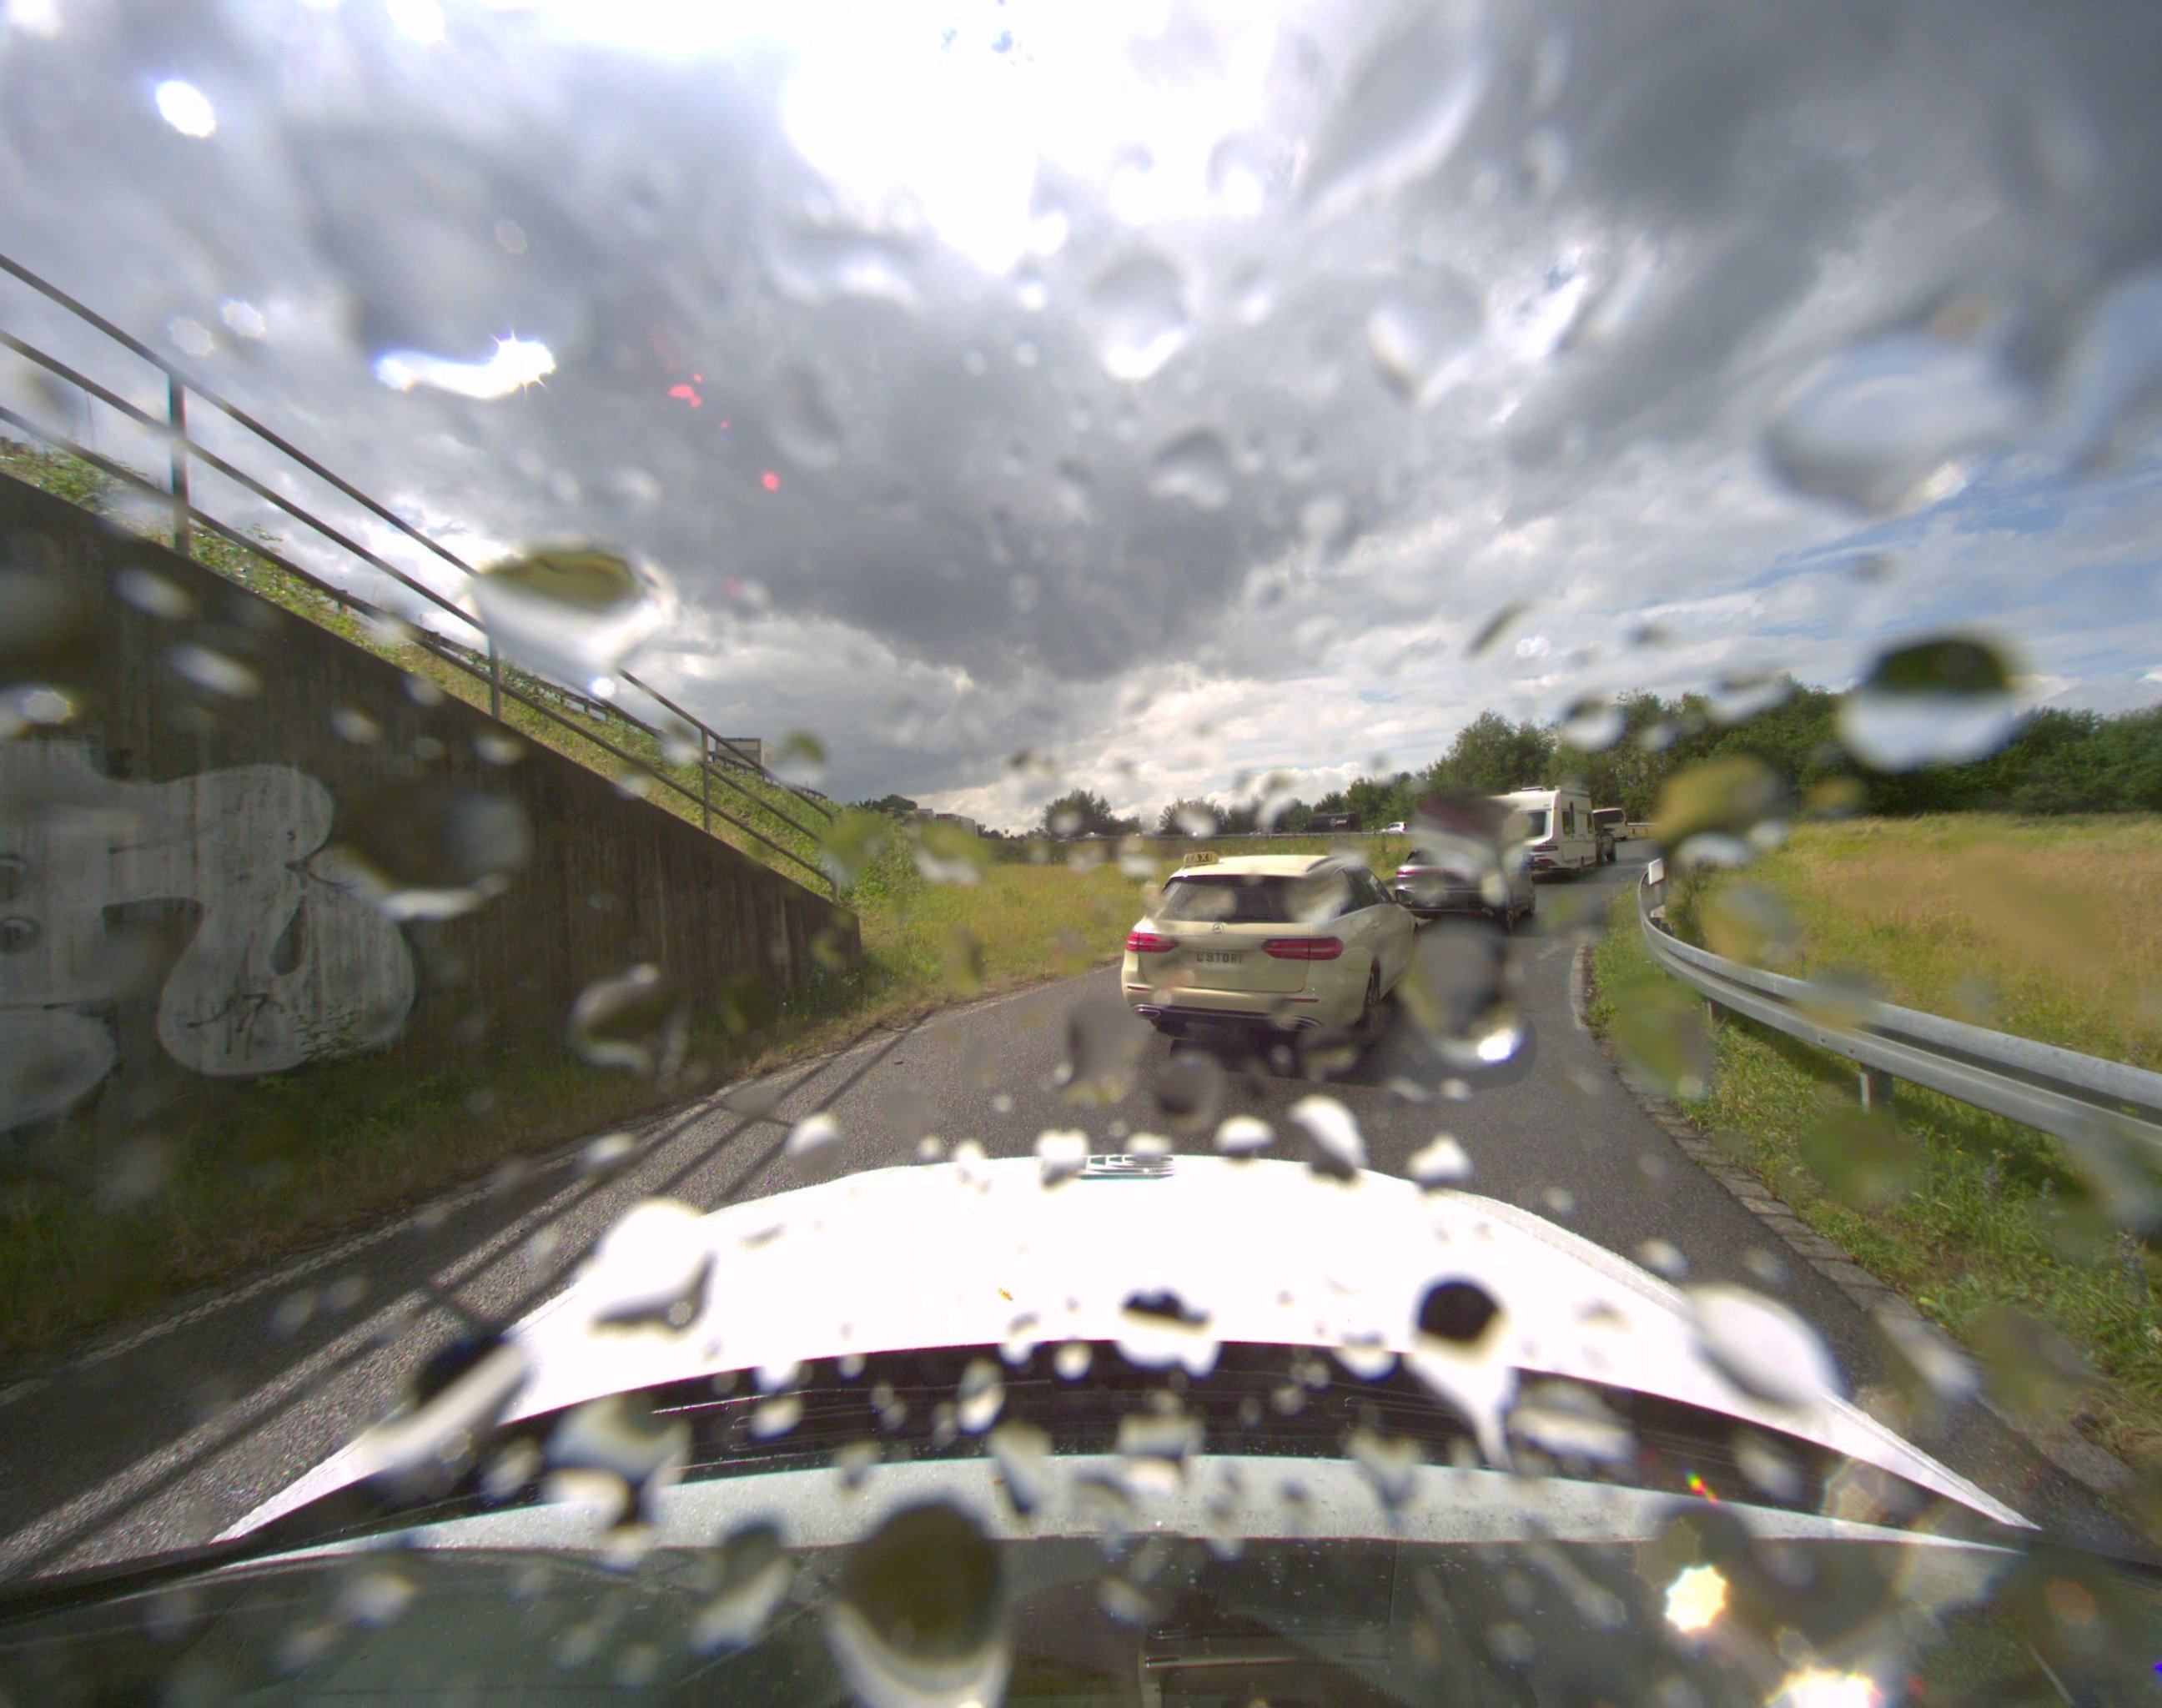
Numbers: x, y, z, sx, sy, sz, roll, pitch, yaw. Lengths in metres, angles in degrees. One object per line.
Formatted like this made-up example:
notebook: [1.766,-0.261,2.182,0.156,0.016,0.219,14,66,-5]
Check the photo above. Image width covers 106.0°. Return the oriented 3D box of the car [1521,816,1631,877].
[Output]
car: [17.905,-0.314,29.302,2.405,1.925,5.797,-2,1,41]

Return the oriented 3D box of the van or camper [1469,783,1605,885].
van or camper: [13.976,-0.544,24.722,2.407,2.729,6.039,-2,0,41]

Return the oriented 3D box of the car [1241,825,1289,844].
car: [21.261,-2.278,94.218,4.993,1.861,2.012,-4,-2,44]

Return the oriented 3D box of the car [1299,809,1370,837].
car: [26.791,-3.292,86.371,2.886,2.595,6.912,-3,1,-33]

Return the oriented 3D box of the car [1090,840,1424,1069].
car: [2.019,0.684,7.854,1.898,1.507,4.624,-1,-1,28]

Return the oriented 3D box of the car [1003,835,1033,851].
car: [-8.714,-1.463,112.396,3.978,2.014,1.824,-1,-3,-4]

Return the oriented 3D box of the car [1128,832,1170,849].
car: [8.745,-1.716,104.711,4.991,1.861,2.013,-4,-1,35]

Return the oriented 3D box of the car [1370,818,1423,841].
car: [30.424,-2.314,78.703,1.999,1.861,5.025,-2,-1,-18]

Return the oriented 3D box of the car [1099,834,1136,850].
car: [4.997,-1.623,110.627,4.453,1.861,2.012,-3,-1,28]

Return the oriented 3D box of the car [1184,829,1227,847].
car: [15.318,-1.944,100.327,2.011,1.861,4.995,-2,-2,-44]

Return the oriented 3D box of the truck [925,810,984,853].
truck: [-17.476,-2.938,114.569,4.443,4.504,19.383,-2,-3,2]

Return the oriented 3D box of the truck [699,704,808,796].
truck: [-19.441,-6.043,49.137,3.173,3.967,9.225,-1,-3,-3]

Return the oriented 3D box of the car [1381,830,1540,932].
car: [6.794,0.403,14.355,1.701,1.525,4.026,-4,-1,36]

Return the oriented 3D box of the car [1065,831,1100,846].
car: [0.155,-2.285,117.410,4.993,1.861,2.012,-4,-2,44]

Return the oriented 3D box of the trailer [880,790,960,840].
trailer: [-18.330,-4.231,95.137,4.395,3.956,20.226,-2,-3,2]

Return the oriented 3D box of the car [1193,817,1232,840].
car: [16.097,-3.095,99.746,3.948,2.014,2.012,-11,-9,37]

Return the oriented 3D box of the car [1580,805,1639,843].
car: [29.552,-1.610,45.675,1.975,1.861,5.086,-3,-1,25]
